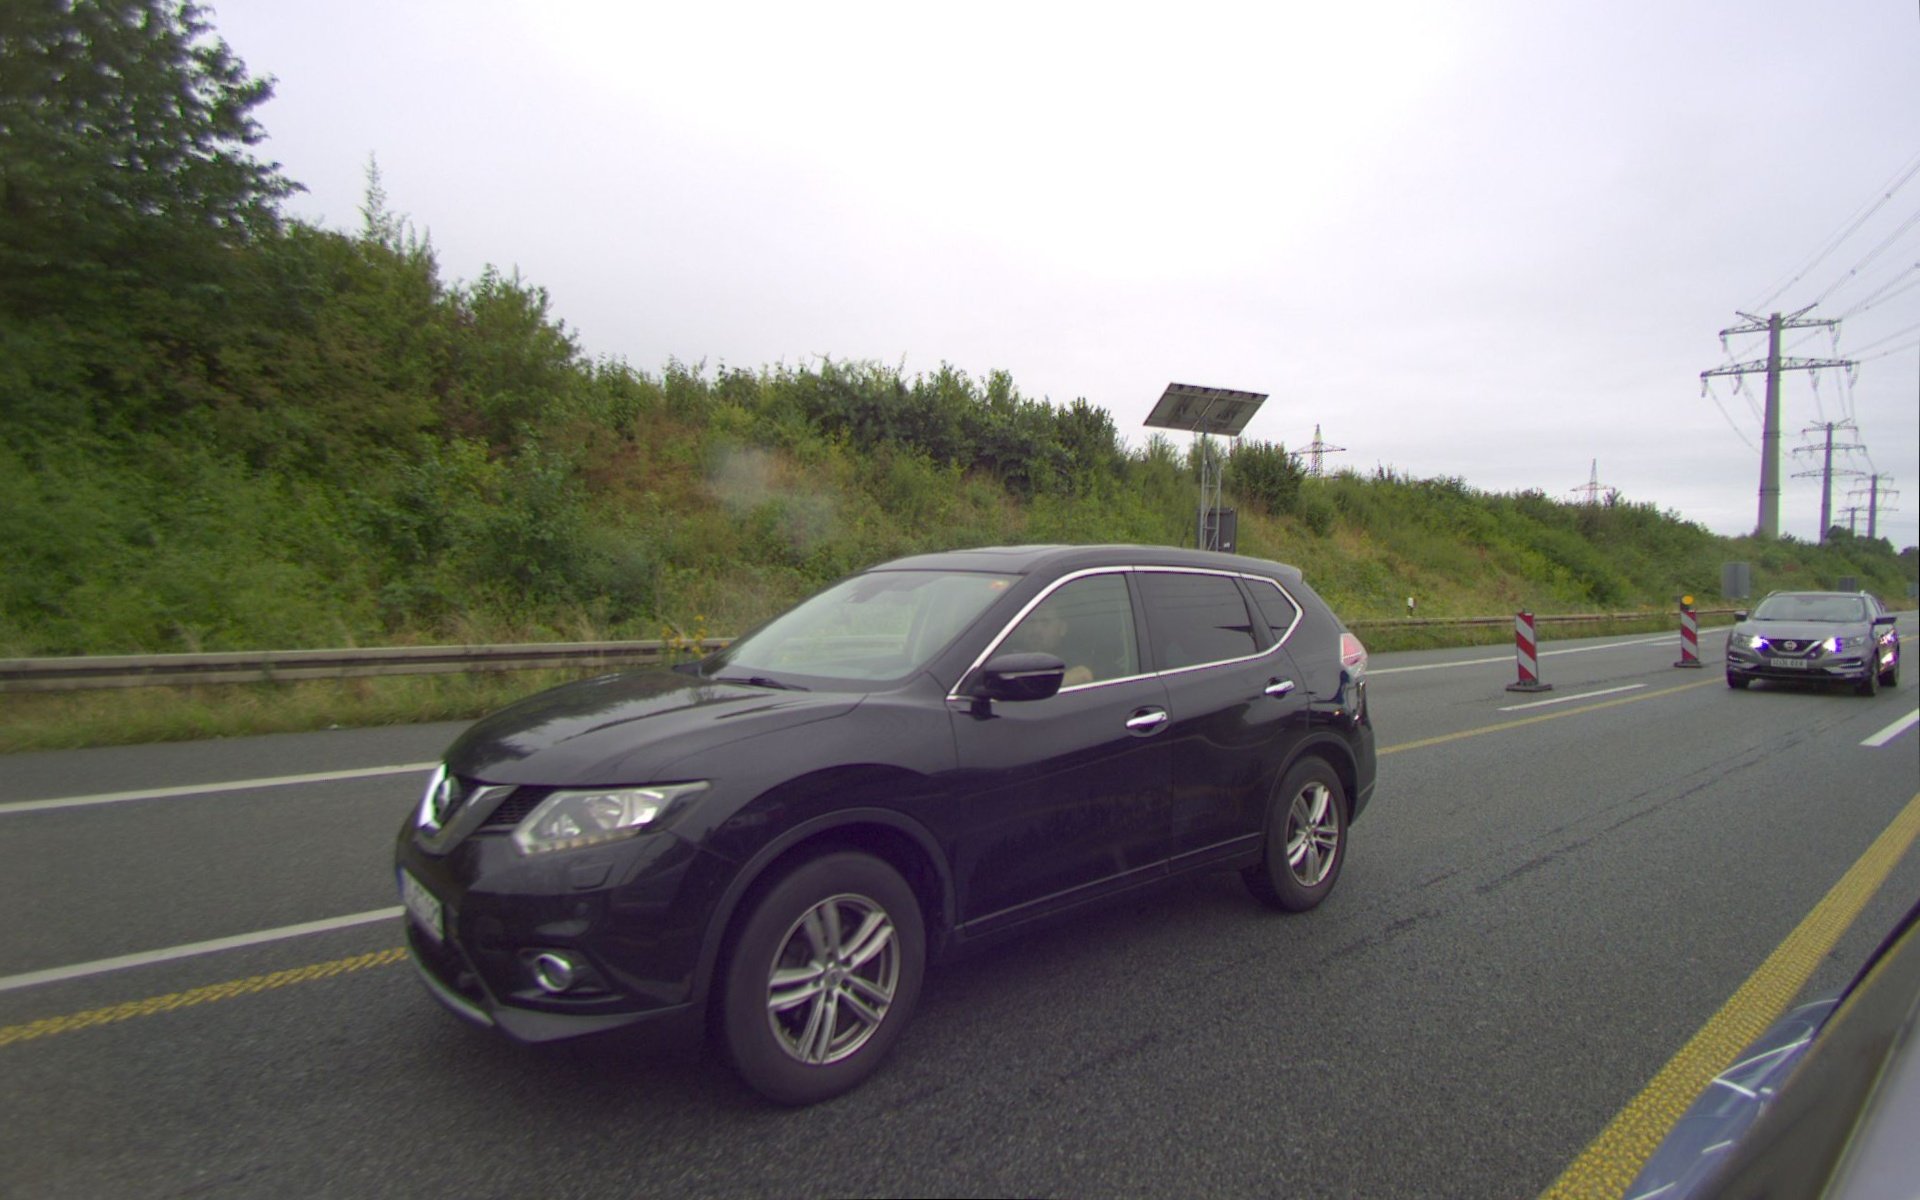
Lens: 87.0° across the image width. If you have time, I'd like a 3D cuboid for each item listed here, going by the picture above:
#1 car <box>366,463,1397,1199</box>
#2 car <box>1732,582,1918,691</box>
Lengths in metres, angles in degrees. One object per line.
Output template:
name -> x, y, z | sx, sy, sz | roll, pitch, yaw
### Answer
car -> 0.068, 0.518, 4.277 | 4.207, 1.679, 1.687 | 0, 1, -42
car -> 14.100, 0.501, 16.424 | 4.079, 1.552, 1.802 | 0, 1, -42
